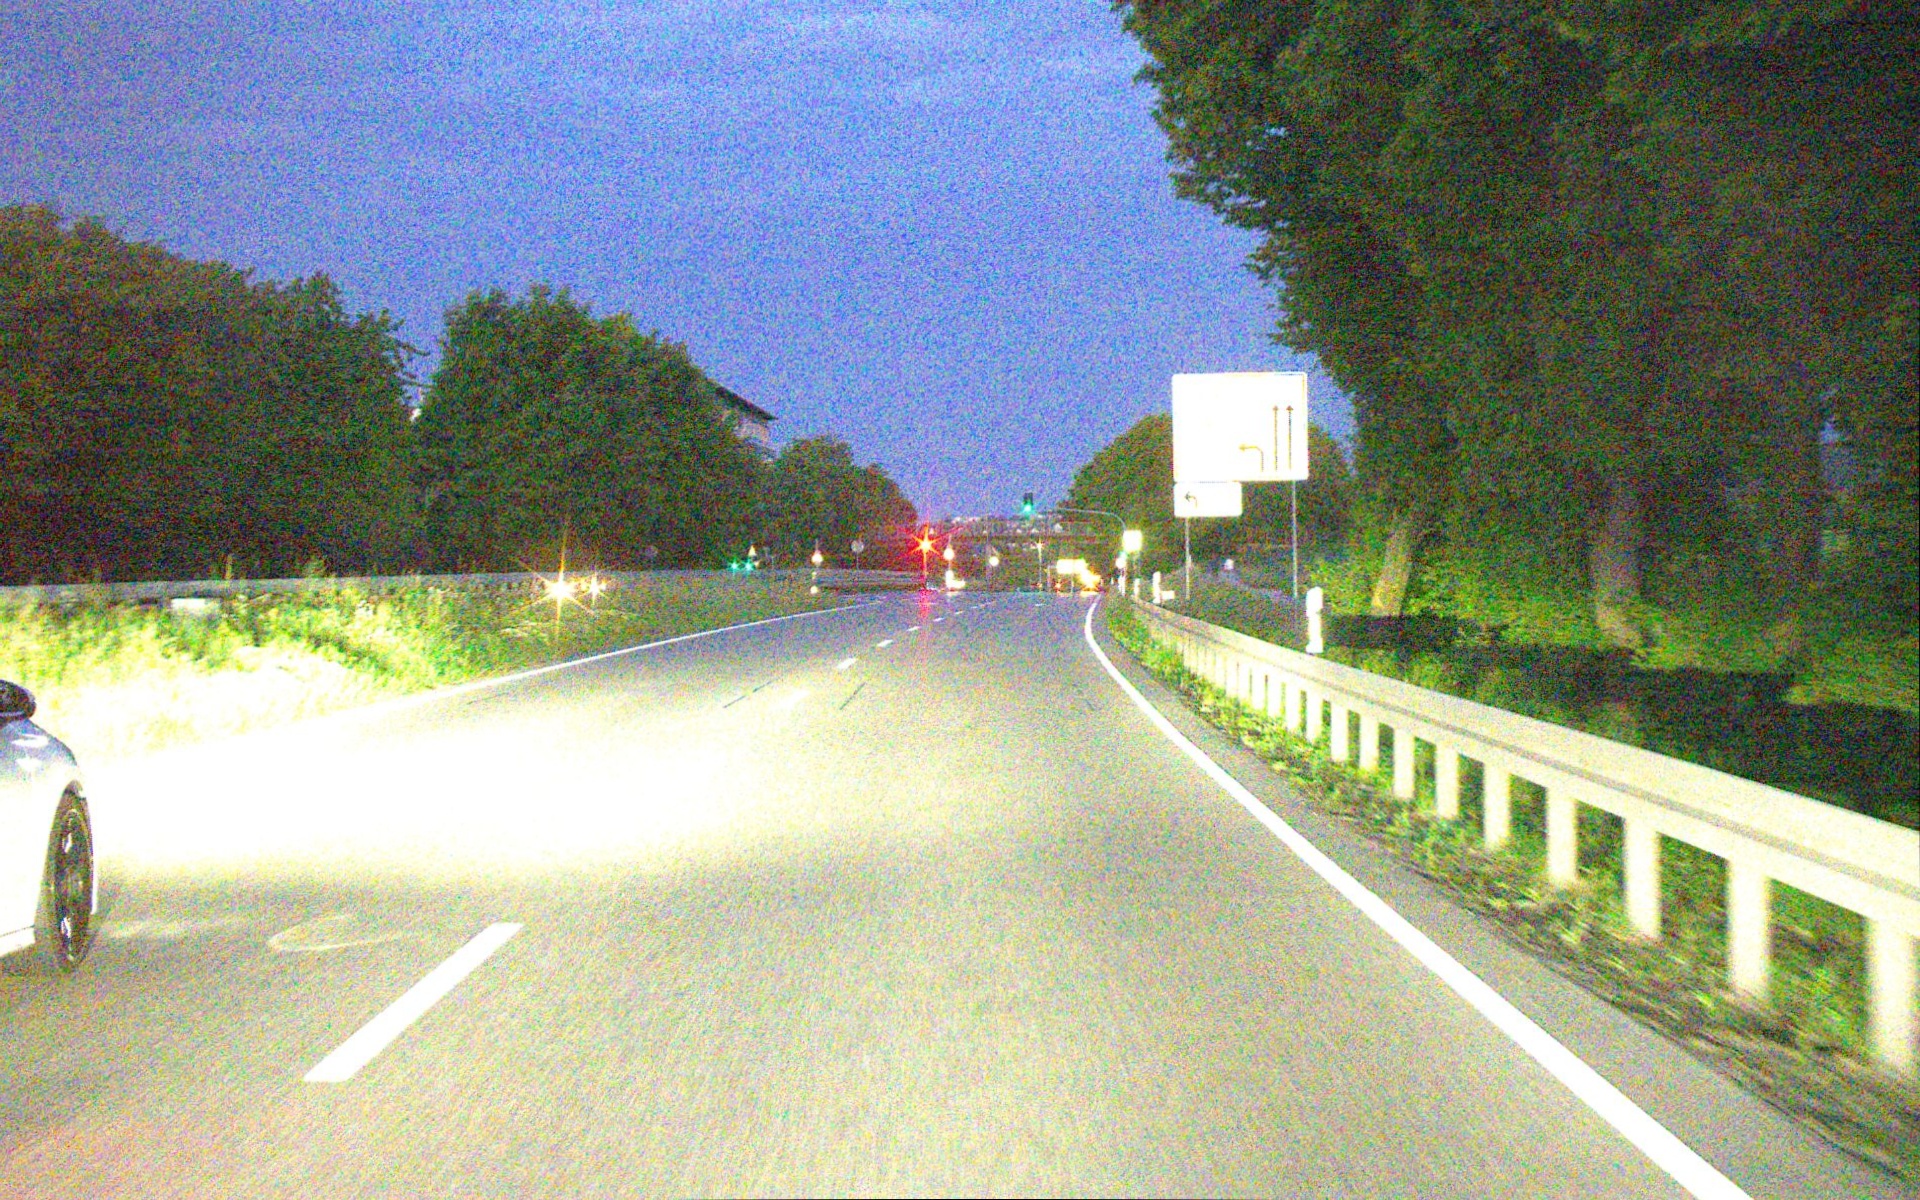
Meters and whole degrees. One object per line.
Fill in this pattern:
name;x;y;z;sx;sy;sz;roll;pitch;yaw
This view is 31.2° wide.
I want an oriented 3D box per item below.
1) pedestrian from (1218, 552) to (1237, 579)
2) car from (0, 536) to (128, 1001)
pedestrian;17.293;-2.254;222.302;1.091;1.717;1.260;1;0;2
car;-3.867;0.536;10.489;1.642;1.485;4.580;1;1;-1
